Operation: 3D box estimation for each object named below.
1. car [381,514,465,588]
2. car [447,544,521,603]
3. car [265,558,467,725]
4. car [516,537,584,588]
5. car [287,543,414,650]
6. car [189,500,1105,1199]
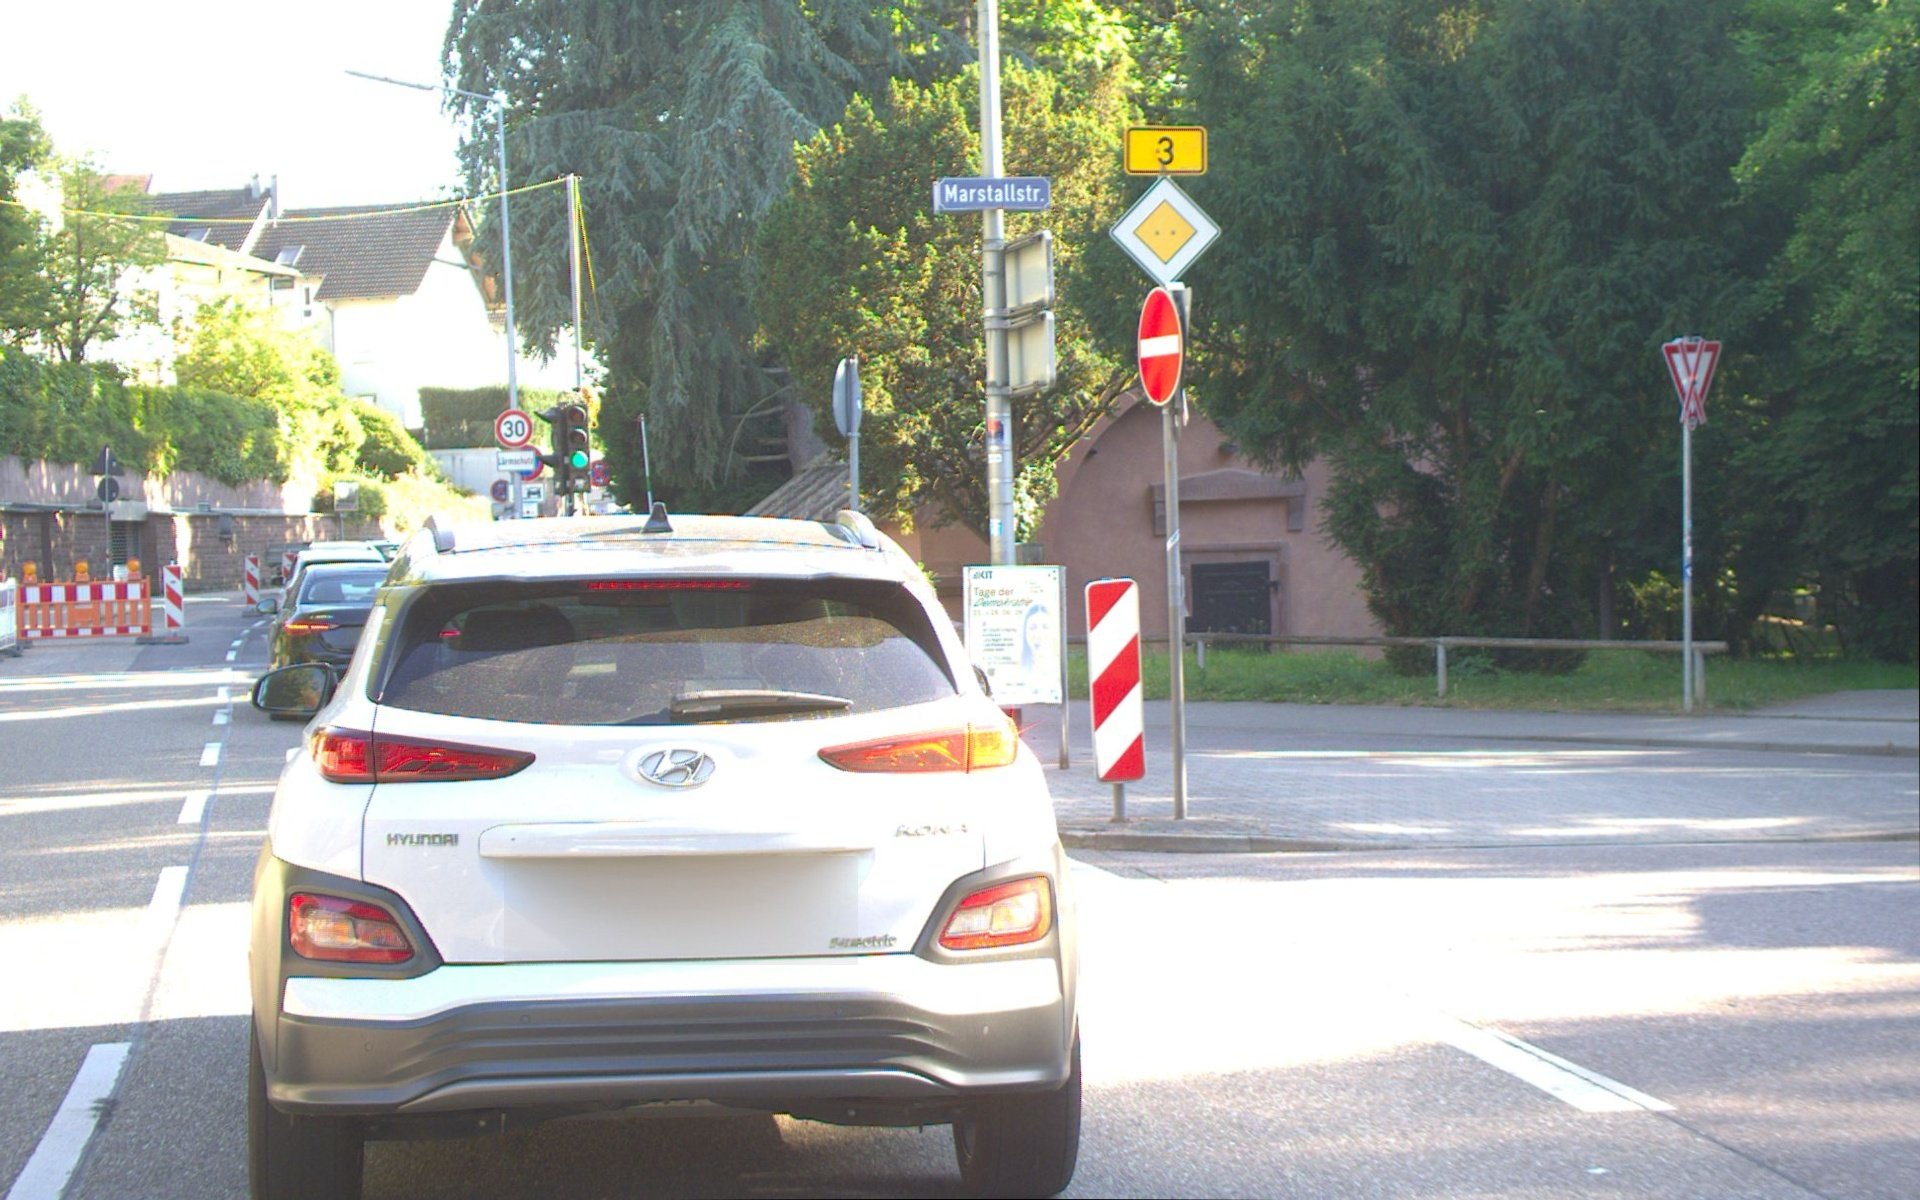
[{"bbox_3d":[-13.038,-1.204,83.564,1.831,1.735,4.001,1,1,-6],"label":"car"},{"bbox_3d":[-13.802,-0.774,99.841,1.831,1.656,4.001,0,1,-3],"label":"car"},{"bbox_3d":[-5.669,0.342,32.482,1.707,1.429,4.366,0,1,-12],"label":"car"},{"bbox_3d":[-13.583,-1.253,114.139,1.831,1.656,4.000,0,1,-1],"label":"car"},{"bbox_3d":[-9.301,-0.084,52.278,1.805,1.532,4.001,0,1,-11],"label":"car"},{"bbox_3d":[-0.869,0.550,8.871,1.820,1.568,4.001,0,1,-7],"label":"car"}]
